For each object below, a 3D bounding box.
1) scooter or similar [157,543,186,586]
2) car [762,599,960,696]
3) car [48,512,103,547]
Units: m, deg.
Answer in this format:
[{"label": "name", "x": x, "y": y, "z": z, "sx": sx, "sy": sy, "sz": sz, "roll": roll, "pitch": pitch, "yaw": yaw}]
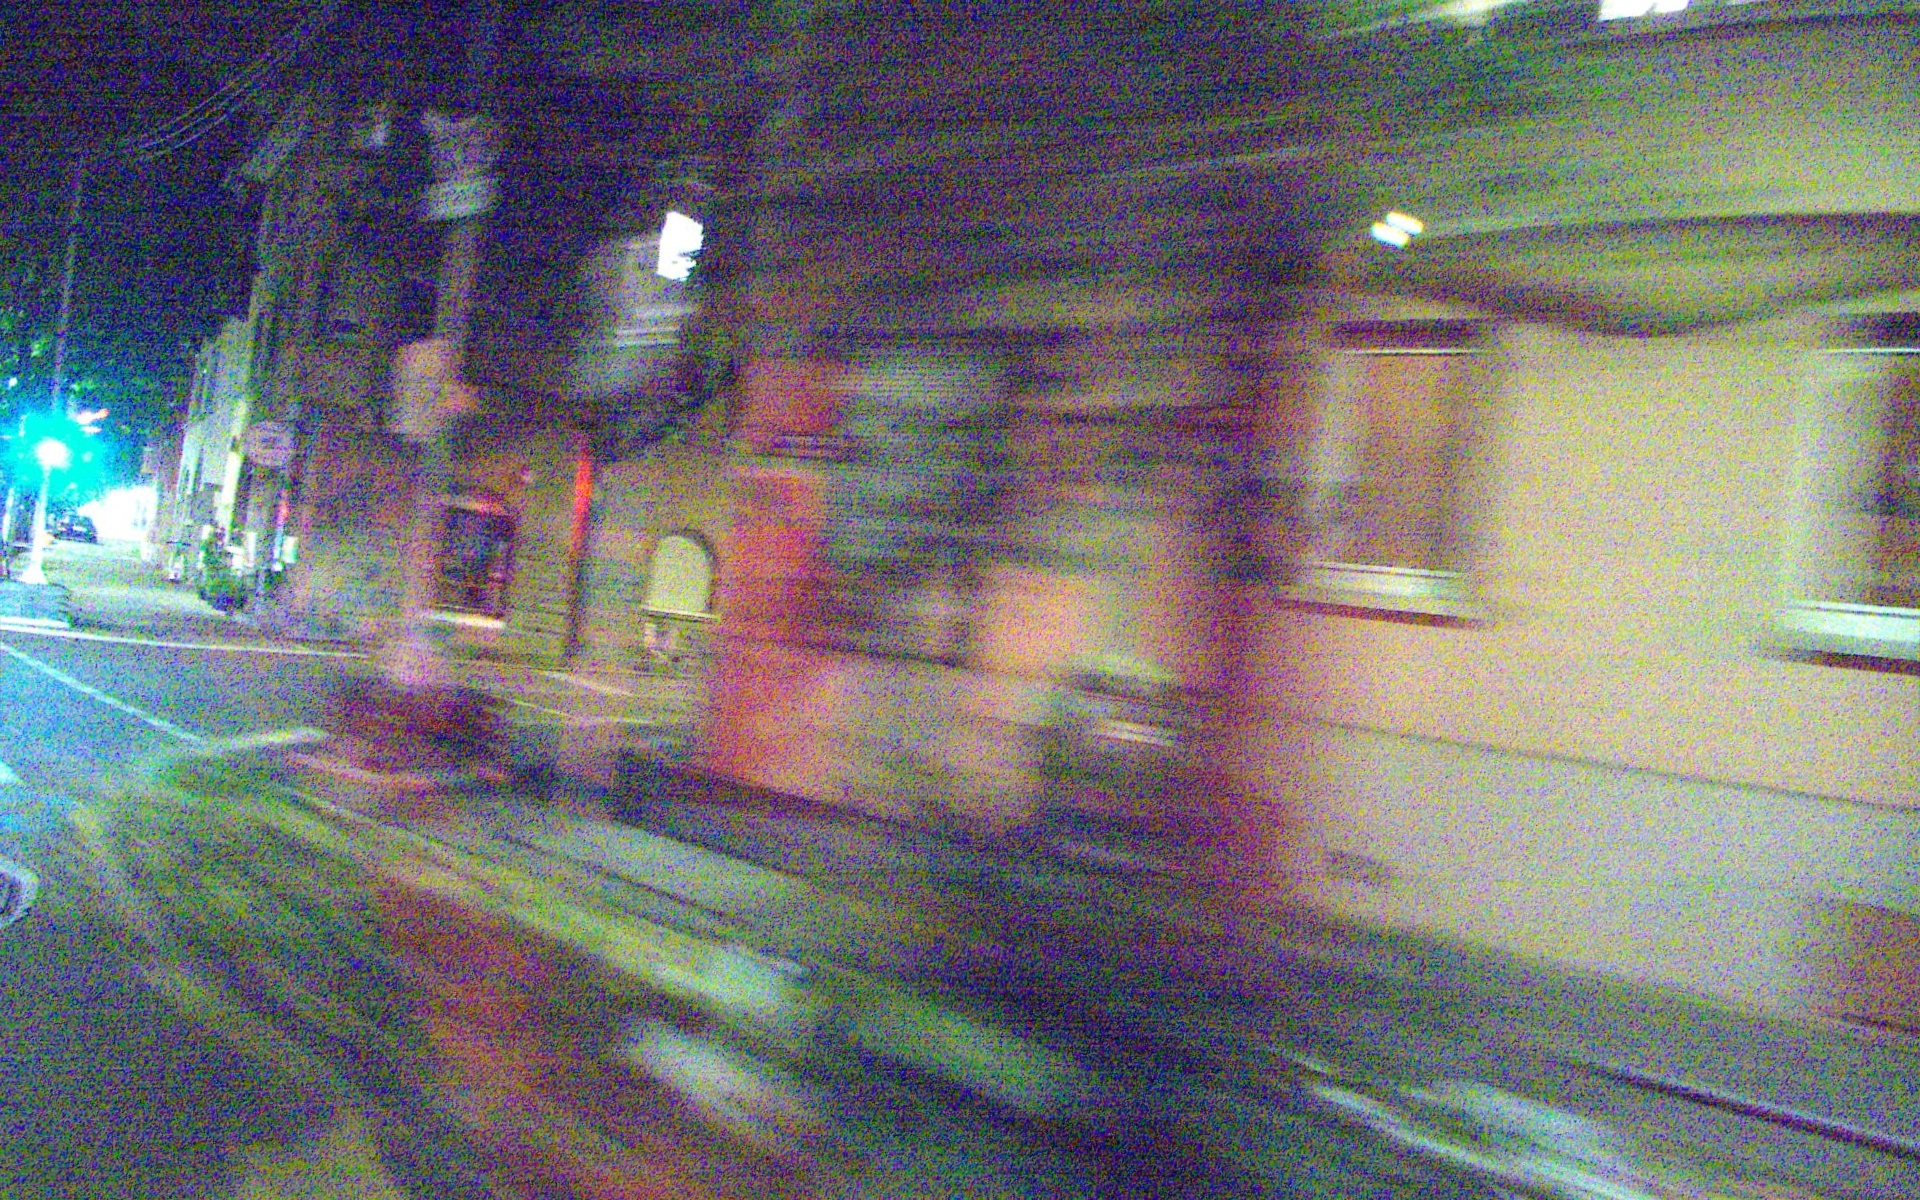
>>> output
[{"label": "scooter or similar", "x": -22.294, "y": -1.023, "z": 28.469, "sx": 0.419, "sy": 1.143, "sz": 1.480, "roll": 8, "pitch": -1, "yaw": -34}, {"label": "car", "x": -2.126, "y": 1.093, "z": 22.329, "sx": 3.979, "sy": 1.711, "sz": 1.847, "roll": 10, "pitch": -6, "yaw": -44}, {"label": "car", "x": -48.101, "y": -3.829, "z": 54.688, "sx": 4.666, "sy": 1.476, "sz": 1.732, "roll": 6, "pitch": -3, "yaw": 44}]
